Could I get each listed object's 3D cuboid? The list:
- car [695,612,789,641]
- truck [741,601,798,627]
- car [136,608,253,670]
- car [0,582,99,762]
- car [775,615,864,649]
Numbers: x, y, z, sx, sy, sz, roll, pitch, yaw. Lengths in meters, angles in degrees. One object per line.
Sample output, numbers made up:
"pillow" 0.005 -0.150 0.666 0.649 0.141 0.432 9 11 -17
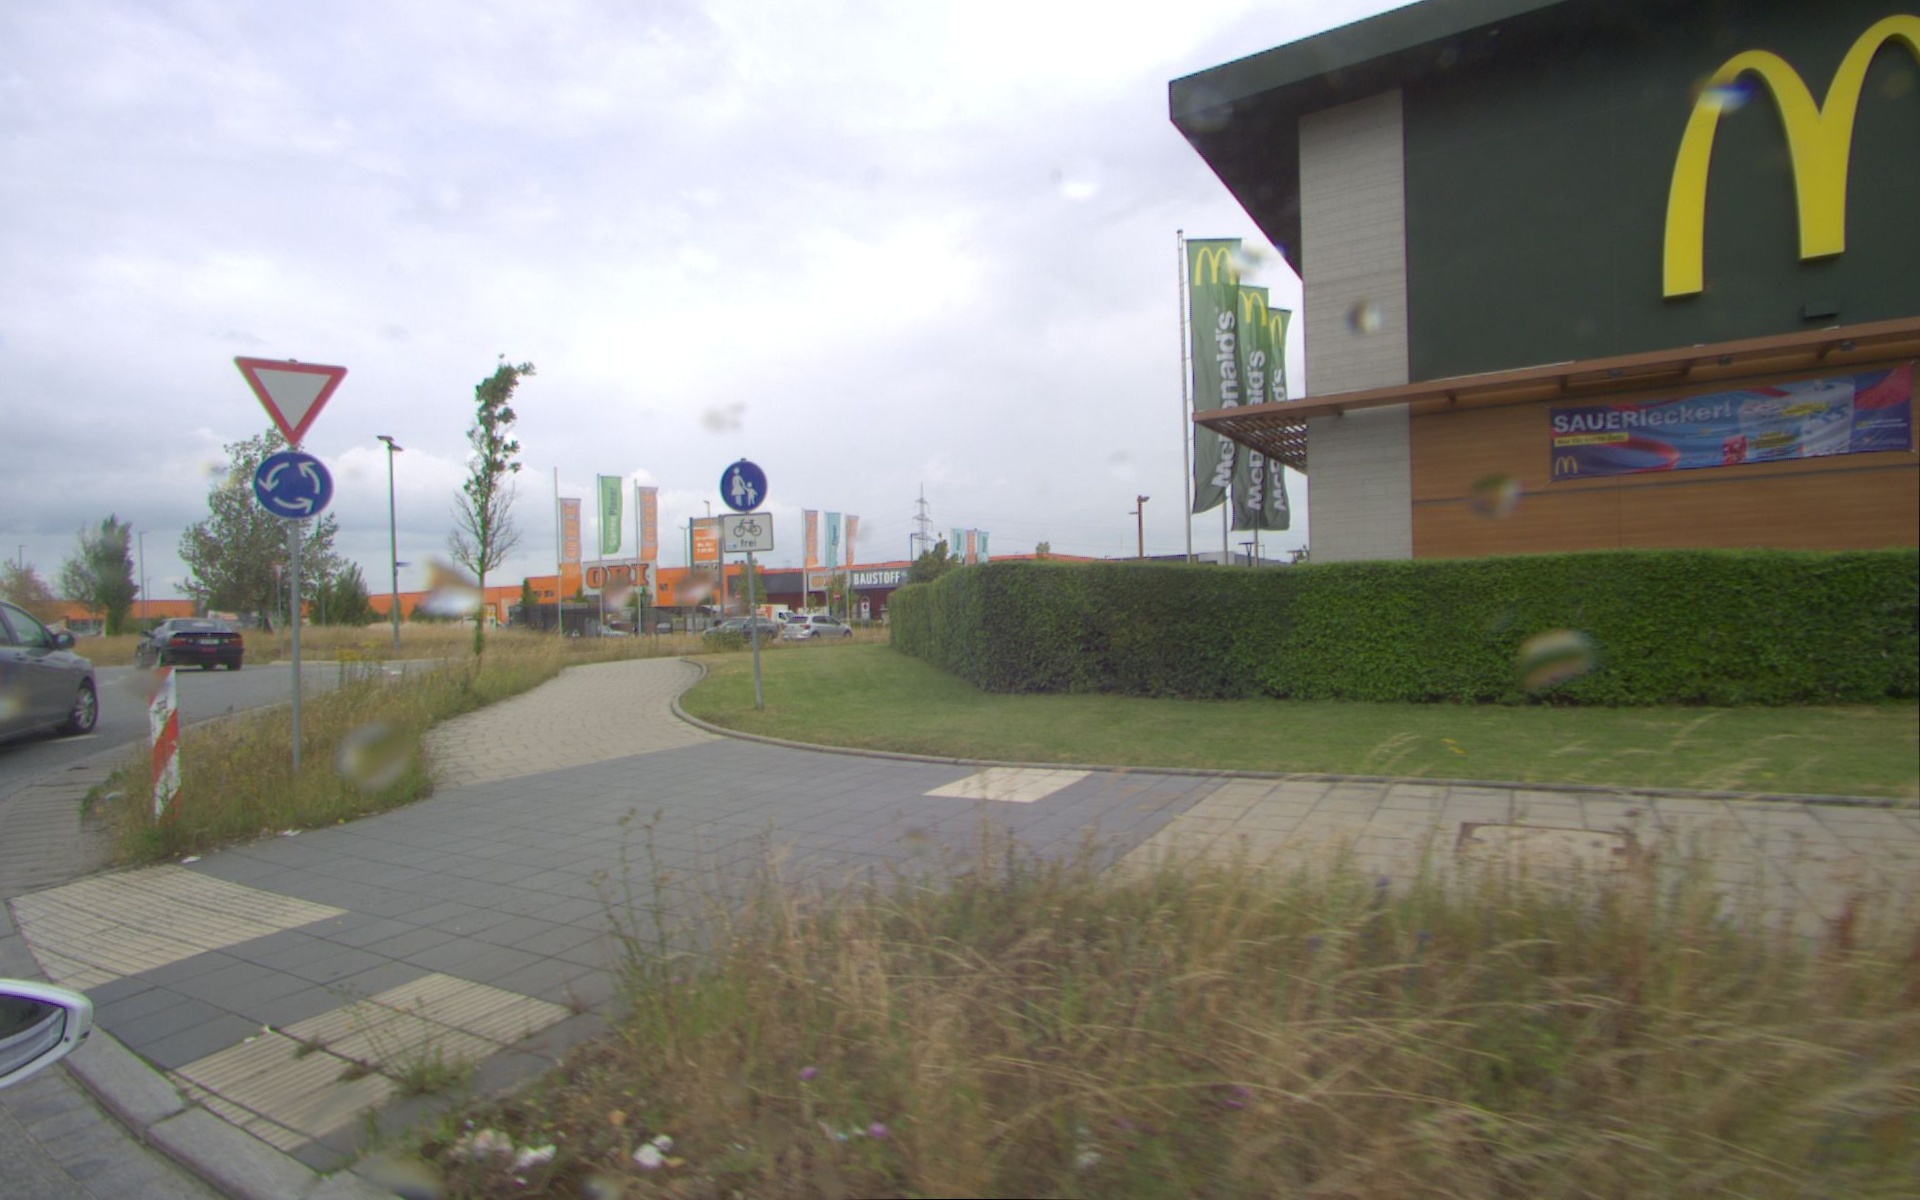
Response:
"car" -11.173 1.400 51.656 1.904 1.421 4.657 -1 -2 37
"truck" -20.138 1.493 105.705 5.460 2.515 2.434 -3 -3 24
"car" -19.816 0.941 25.872 3.952 1.422 1.729 1 0 42
"car" -9.992 0.651 9.603 1.717 1.620 3.978 1 1 -27
"car" -6.616 1.475 47.447 1.791 1.483 3.970 2 0 40
